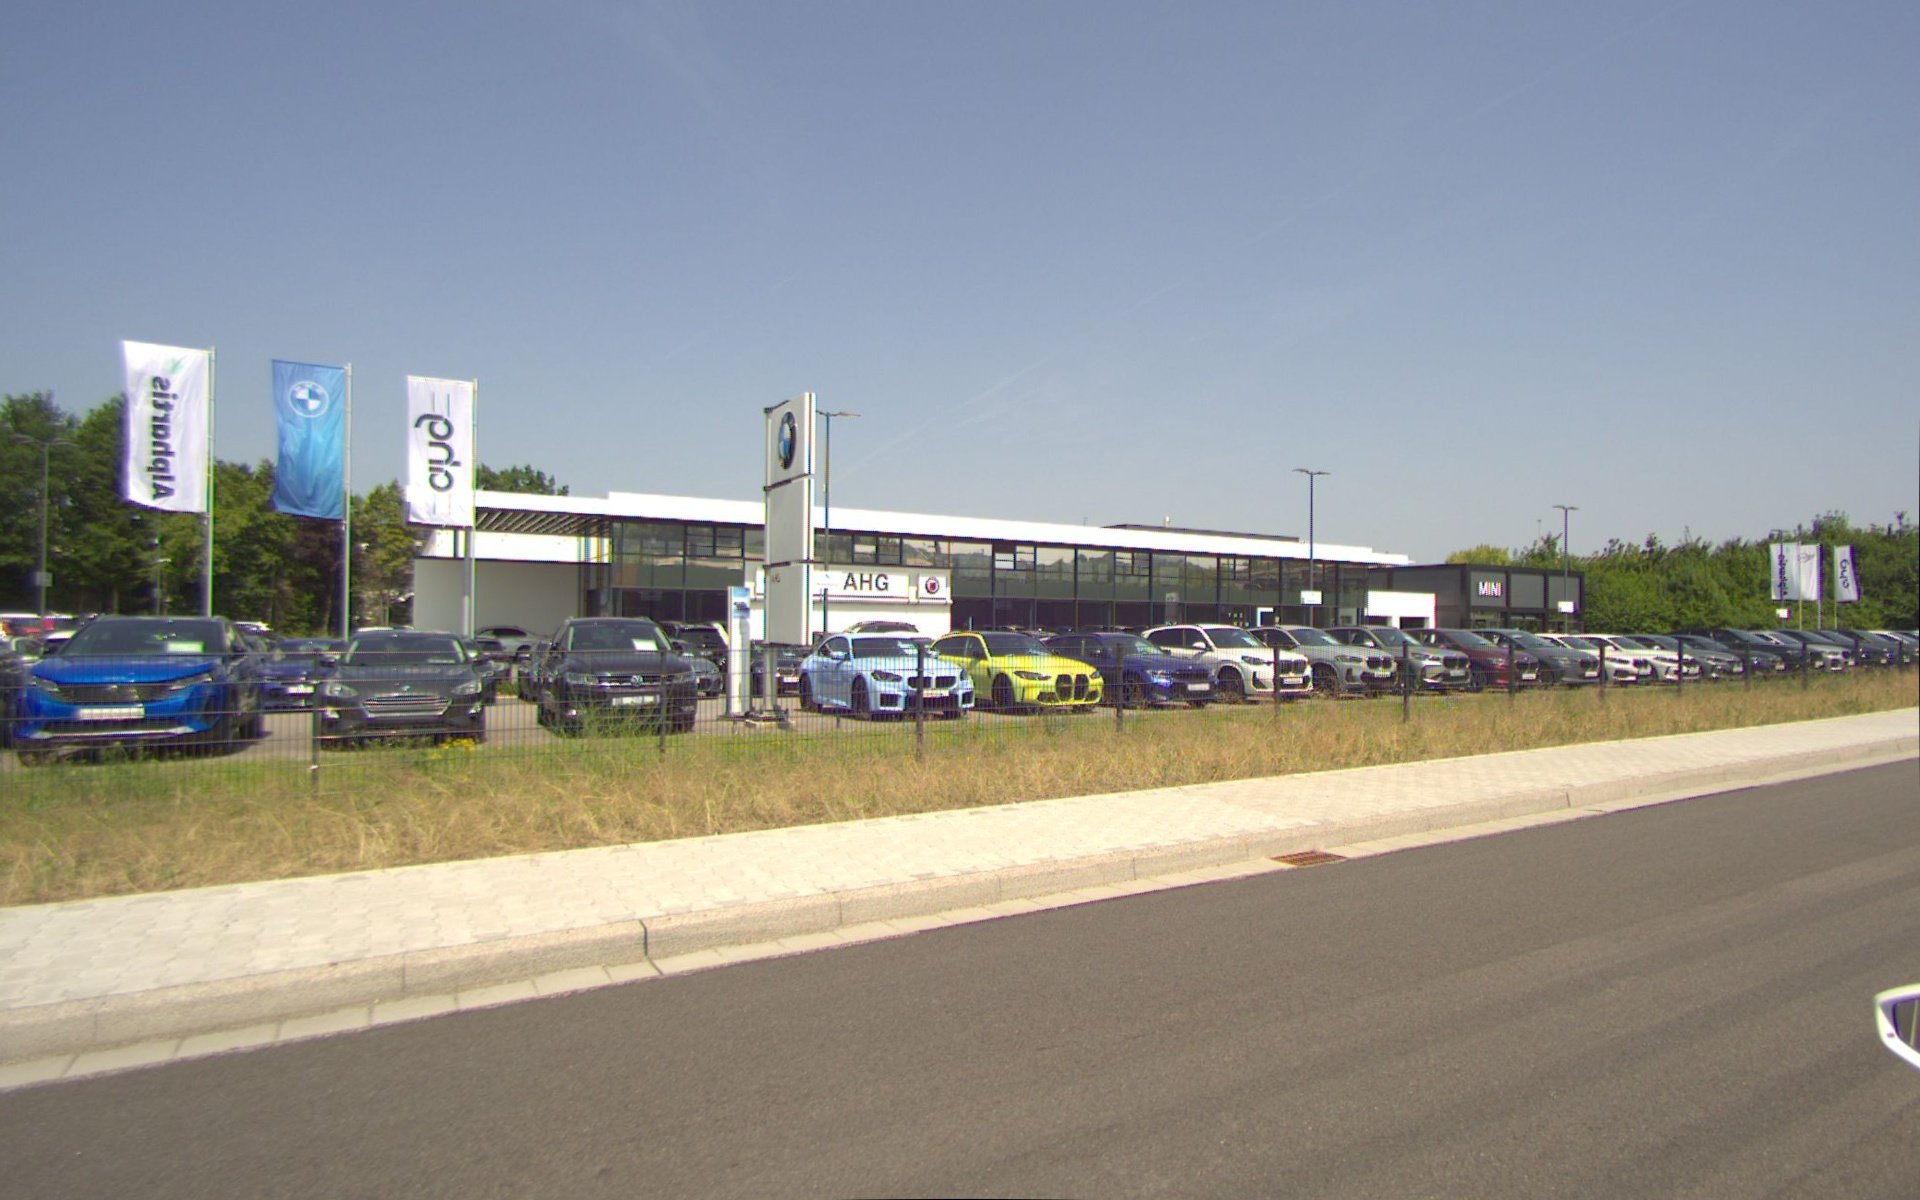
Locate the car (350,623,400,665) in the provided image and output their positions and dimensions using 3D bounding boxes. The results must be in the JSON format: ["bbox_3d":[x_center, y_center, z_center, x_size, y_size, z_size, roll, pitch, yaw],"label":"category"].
[{"bbox_3d":[-22.555,1.672,38.678,1.609,1.500,4.309,0,-2,-31],"label":"car"}]

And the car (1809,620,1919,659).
[{"bbox_3d":[36.755,1.542,40.016,1.793,1.486,4.146,0,-2,-29],"label":"car"}]

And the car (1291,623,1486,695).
[{"bbox_3d":[10.288,1.374,24.447,1.793,1.565,4.146,0,-2,-29],"label":"car"}]

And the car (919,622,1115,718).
[{"bbox_3d":[0.931,1.210,18.648,1.793,1.554,3.970,0,-2,-29],"label":"car"}]

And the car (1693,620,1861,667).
[{"bbox_3d":[28.117,1.468,34.725,1.793,1.486,4.146,0,-2,-29],"label":"car"}]

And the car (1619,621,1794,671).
[{"bbox_3d":[23.884,1.446,32.281,1.793,1.486,4.146,0,-2,-29],"label":"car"}]

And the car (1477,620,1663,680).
[{"bbox_3d":[17.036,1.359,28.253,1.793,1.565,4.146,0,-2,-29],"label":"car"}]

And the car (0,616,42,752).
[{"bbox_3d":[-11.598,0.953,10.779,1.795,1.554,3.967,0,-2,-31],"label":"car"}]

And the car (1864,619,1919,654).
[{"bbox_3d":[41.620,1.567,42.893,1.793,1.486,4.146,0,-2,-29],"label":"car"}]

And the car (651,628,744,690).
[{"bbox_3d":[-8.155,1.753,30.952,1.793,1.772,4.146,0,-2,-29],"label":"car"}]

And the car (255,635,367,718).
[{"bbox_3d":[-13.432,1.512,20.964,1.795,1.514,3.967,0,-2,-31],"label":"car"}]

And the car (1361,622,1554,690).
[{"bbox_3d":[12.581,1.374,25.665,1.793,1.565,4.146,0,-2,-29],"label":"car"}]

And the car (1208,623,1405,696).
[{"bbox_3d":[7.806,1.298,23.040,1.793,1.486,4.146,0,-2,-29],"label":"car"}]

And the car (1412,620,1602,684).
[{"bbox_3d":[14.462,1.338,26.782,1.793,1.565,4.146,0,-2,-29],"label":"car"}]

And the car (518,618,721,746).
[{"bbox_3d":[-5.113,1.083,14.741,2.030,1.593,3.967,0,-2,-31],"label":"car"}]

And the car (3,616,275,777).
[{"bbox_3d":[-9.529,1.004,12.023,1.949,1.554,3.967,0,-2,-31],"label":"car"}]

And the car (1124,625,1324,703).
[{"bbox_3d":[5.536,1.303,21.590,1.793,1.486,4.146,0,-2,-29],"label":"car"}]

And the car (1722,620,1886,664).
[{"bbox_3d":[30.076,1.469,35.931,1.793,1.486,4.146,0,-2,-29],"label":"car"}]

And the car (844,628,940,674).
[{"bbox_3d":[-2.461,1.744,35.308,1.793,1.486,4.146,0,-2,-29],"label":"car"}]

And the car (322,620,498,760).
[{"bbox_3d":[-7.358,1.066,13.359,1.795,1.554,3.967,0,-2,-31],"label":"car"}]

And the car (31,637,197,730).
[{"bbox_3d":[-15.972,1.492,19.169,1.795,1.514,3.967,0,-2,-31],"label":"car"}]

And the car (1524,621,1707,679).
[{"bbox_3d":[19.162,1.414,29.556,1.793,1.565,4.146,0,-2,-29],"label":"car"}]

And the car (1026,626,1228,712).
[{"bbox_3d":[3.179,1.285,19.986,1.793,1.486,4.146,0,-2,-29],"label":"car"}]

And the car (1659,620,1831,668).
[{"bbox_3d":[26.018,1.427,33.424,1.793,1.486,4.146,0,-2,-29],"label":"car"}]

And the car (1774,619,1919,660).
[{"bbox_3d":[34.190,1.506,38.601,1.793,1.486,4.146,0,-2,-29],"label":"car"}]

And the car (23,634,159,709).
[{"bbox_3d":[-20.678,1.623,24.070,1.795,1.607,3.967,0,-2,-31],"label":"car"}]

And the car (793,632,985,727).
[{"bbox_3d":[-1.351,1.274,17.360,1.855,1.409,3.971,0,-2,-28],"label":"car"}]

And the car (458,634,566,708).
[{"bbox_3d":[-10.284,1.537,22.891,1.795,1.514,3.967,0,-2,-31],"label":"car"}]

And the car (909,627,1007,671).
[{"bbox_3d":[-0.135,1.750,36.425,1.793,1.486,4.146,0,-2,-29],"label":"car"}]

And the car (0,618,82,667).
[{"bbox_3d":[-41.232,1.843,43.761,4.300,2.065,1.612,0,-2,-34],"label":"car"}]

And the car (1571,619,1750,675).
[{"bbox_3d":[21.393,1.403,30.857,1.793,1.565,4.146,0,-2,-29],"label":"car"}]
